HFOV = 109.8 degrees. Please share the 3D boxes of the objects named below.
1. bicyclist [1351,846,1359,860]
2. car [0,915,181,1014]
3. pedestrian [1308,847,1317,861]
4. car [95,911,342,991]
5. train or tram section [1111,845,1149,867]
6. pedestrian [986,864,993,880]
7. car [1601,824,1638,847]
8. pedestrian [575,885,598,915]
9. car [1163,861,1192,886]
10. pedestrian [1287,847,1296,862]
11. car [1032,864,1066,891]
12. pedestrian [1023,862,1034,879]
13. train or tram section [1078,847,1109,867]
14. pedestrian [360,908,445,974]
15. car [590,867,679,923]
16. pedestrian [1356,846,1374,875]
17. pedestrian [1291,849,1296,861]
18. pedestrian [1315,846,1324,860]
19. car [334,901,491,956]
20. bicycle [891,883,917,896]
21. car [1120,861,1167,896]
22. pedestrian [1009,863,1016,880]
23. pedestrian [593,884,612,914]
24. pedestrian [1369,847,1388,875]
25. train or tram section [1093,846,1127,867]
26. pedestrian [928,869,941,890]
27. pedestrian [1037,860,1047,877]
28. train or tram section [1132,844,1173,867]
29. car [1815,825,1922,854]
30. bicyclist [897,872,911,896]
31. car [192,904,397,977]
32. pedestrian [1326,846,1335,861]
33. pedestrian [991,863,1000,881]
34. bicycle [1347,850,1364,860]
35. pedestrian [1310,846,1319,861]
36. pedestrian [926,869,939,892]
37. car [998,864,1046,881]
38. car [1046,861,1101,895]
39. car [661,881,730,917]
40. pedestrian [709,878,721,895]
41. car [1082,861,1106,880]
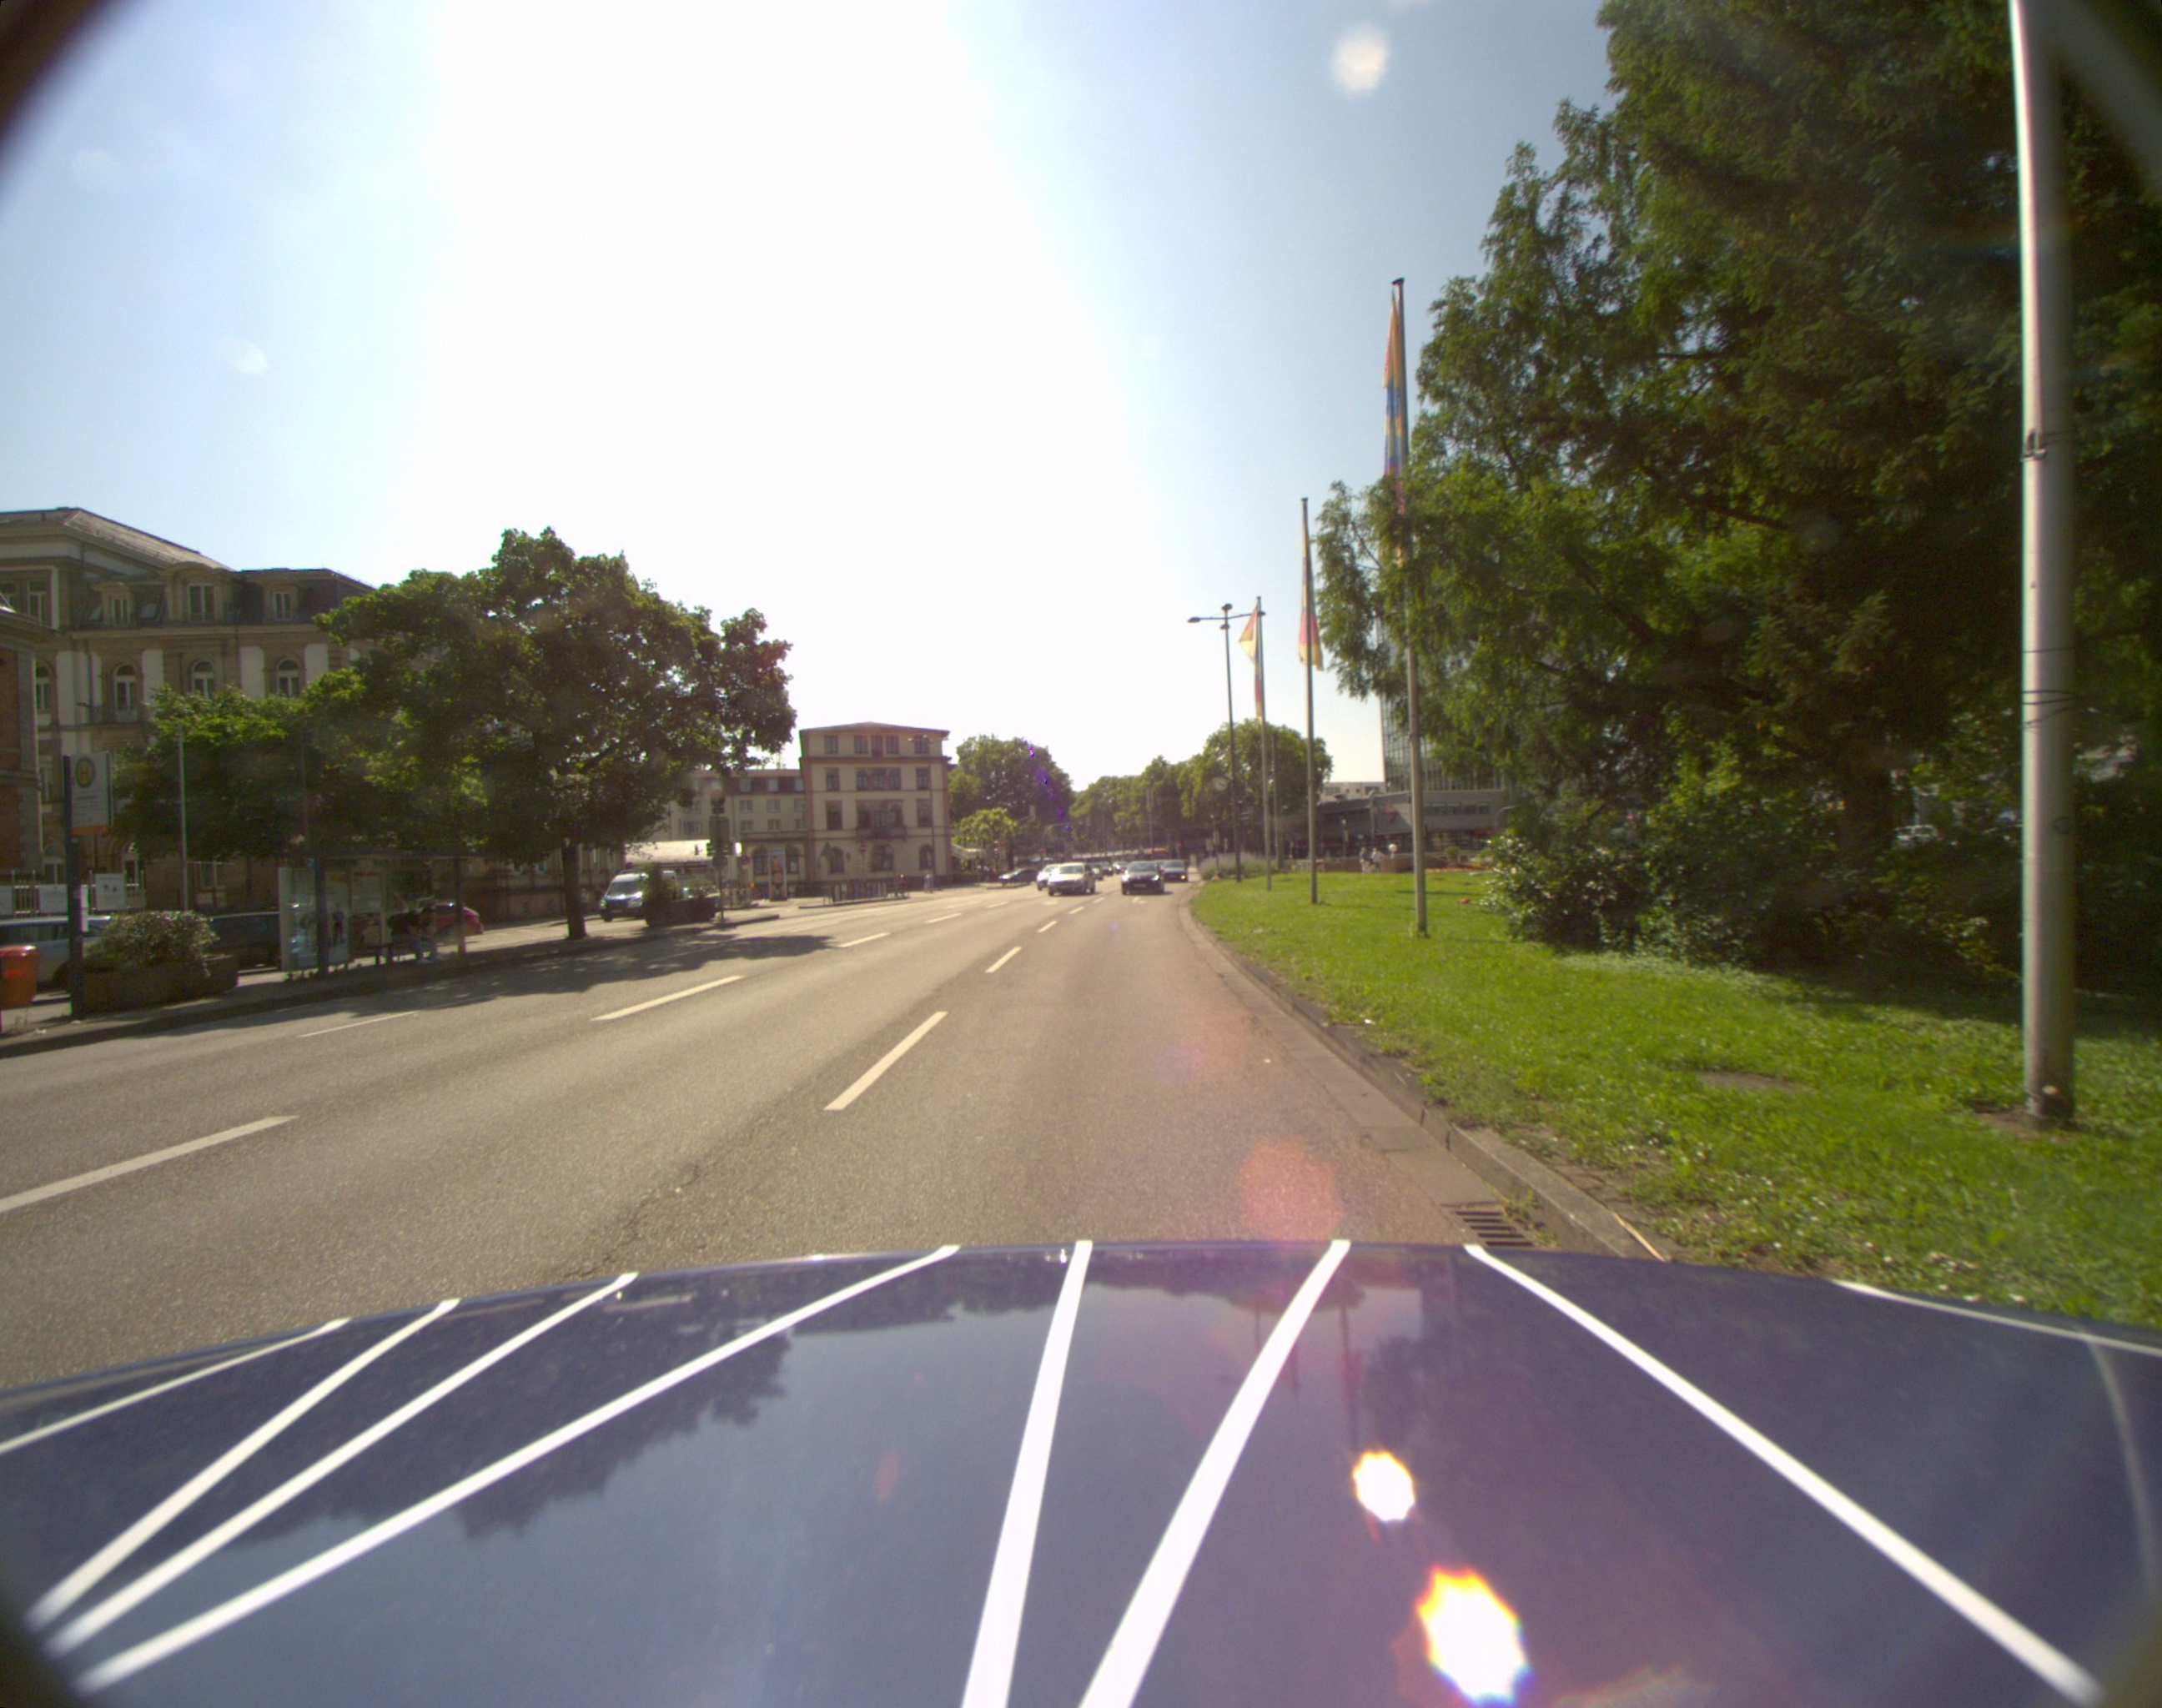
[{"bbox_3d":[34.724,-0.138,96.215,0.684,1.677,0.583,-3,0,-15],"label":"bicyclist"},{"bbox_3d":[-20.757,2.194,14.653,1.709,1.620,4.324,-3,0,40],"label":"car"},{"bbox_3d":[29.092,-0.009,95.524,0.824,1.825,0.670,-2,1,-20],"label":"pedestrian"},{"bbox_3d":[-20.862,2.281,18.631,1.601,1.408,3.828,-3,0,44],"label":"car"},{"bbox_3d":[7.962,0.409,124.552,2.737,3.248,8.724,-3,0,-20],"label":"train or tram section"},{"bbox_3d":[-9.540,1.916,79.034,0.535,1.639,0.673,-3,0,-16],"label":"pedestrian"},{"bbox_3d":[73.373,-2.492,103.444,4.640,2.899,1.745,-3,0,-21],"label":"car"},{"bbox_3d":[-29.270,2.706,44.980,0.821,1.730,0.750,-3,0,-11],"label":"pedestrian"},{"bbox_3d":[6.269,1.247,49.501,1.790,1.484,4.091,-1,0,7],"label":"car"},{"bbox_3d":[26.944,0.063,97.112,0.824,1.795,0.670,-2,1,-18],"label":"pedestrian"},{"bbox_3d":[-1.945,1.360,45.264,1.792,1.443,3.972,-1,0,-6],"label":"car"},{"bbox_3d":[-5.427,1.710,78.796,0.845,1.685,0.744,-3,0,-20],"label":"pedestrian"},{"bbox_3d":[2.165,0.595,141.027,2.737,3.248,8.724,-3,0,-20],"label":"train or tram section"},{"bbox_3d":[-13.737,1.751,15.419,1.022,1.190,0.790,-3,0,-20],"label":"pedestrian"},{"bbox_3d":[-22.997,2.013,39.396,2.000,2.588,5.315,-3,0,-9],"label":"car"},{"bbox_3d":[16.117,0.379,43.152,0.692,1.584,0.599,-3,0,-6],"label":"pedestrian"},{"bbox_3d":[27.814,0.112,99.353,0.564,1.628,0.600,-2,1,19],"label":"pedestrian"},{"bbox_3d":[31.039,-0.082,98.862,0.824,1.795,0.670,-2,1,-18],"label":"pedestrian"},{"bbox_3d":[-22.053,2.392,25.146,1.745,1.410,3.708,-3,0,44],"label":"car"},{"bbox_3d":[-12.315,2.468,52.823,0.592,0.849,1.748,-3,0,39],"label":"bicycle"},{"bbox_3d":[2.934,1.065,34.867,1.789,1.443,4.284,-1,0,9],"label":"car"},{"bbox_3d":[-6.948,1.795,77.486,0.535,1.639,0.579,-3,0,-16],"label":"pedestrian"},{"bbox_3d":[-28.414,2.660,45.128,0.702,1.741,0.721,-3,0,-11],"label":"pedestrian"},{"bbox_3d":[16.885,0.391,43.143,0.851,1.501,0.475,-3,0,-7],"label":"pedestrian"},{"bbox_3d":[5.051,0.502,132.785,2.737,3.248,8.724,-3,0,-20],"label":"train or tram section"},{"bbox_3d":[-11.371,1.992,58.863,0.773,1.563,0.829,-3,0,1],"label":"pedestrian"},{"bbox_3d":[-4.316,1.600,84.143,0.730,1.834,0.590,-3,0,-42],"label":"pedestrian"},{"bbox_3d":[10.870,0.315,116.359,2.737,3.248,8.724,-3,0,-20],"label":"train or tram section"},{"bbox_3d":[41.959,-0.745,40.575,1.613,1.338,3.580,-3,0,-19],"label":"car"},{"bbox_3d":[-12.301,2.071,52.868,0.592,1.597,0.685,-3,0,39],"label":"bicyclist"},{"bbox_3d":[-22.188,2.363,21.628,1.745,1.565,3.885,-3,0,44],"label":"car"},{"bbox_3d":[31.351,-0.089,95.446,0.824,1.825,0.670,-2,1,-19],"label":"pedestrian"},{"bbox_3d":[-8.629,1.840,76.811,0.726,1.794,0.652,-3,0,-12],"label":"pedestrian"},{"bbox_3d":[34.743,0.150,96.219,1.970,1.096,0.576,-3,0,-15],"label":"bicycle"},{"bbox_3d":[29.635,-0.033,96.461,0.824,1.825,0.670,-2,1,-20],"label":"pedestrian"},{"bbox_3d":[-11.192,1.976,57.421,0.753,1.649,0.829,-3,0,0],"label":"pedestrian"},{"bbox_3d":[-5.426,1.733,70.257,3.980,1.443,1.788,-1,0,-31],"label":"car"},{"bbox_3d":[-0.285,1.106,35.806,1.718,1.491,4.495,-2,-1,10],"label":"car"},{"bbox_3d":[-20.305,2.312,40.282,1.822,1.616,4.876,-3,0,-10],"label":"car"},{"bbox_3d":[-34.447,3.064,71.584,0.724,1.594,0.719,-3,0,-2],"label":"pedestrian"},{"bbox_3d":[1.170,1.371,64.337,1.790,1.503,4.282,-1,0,4],"label":"car"}]
